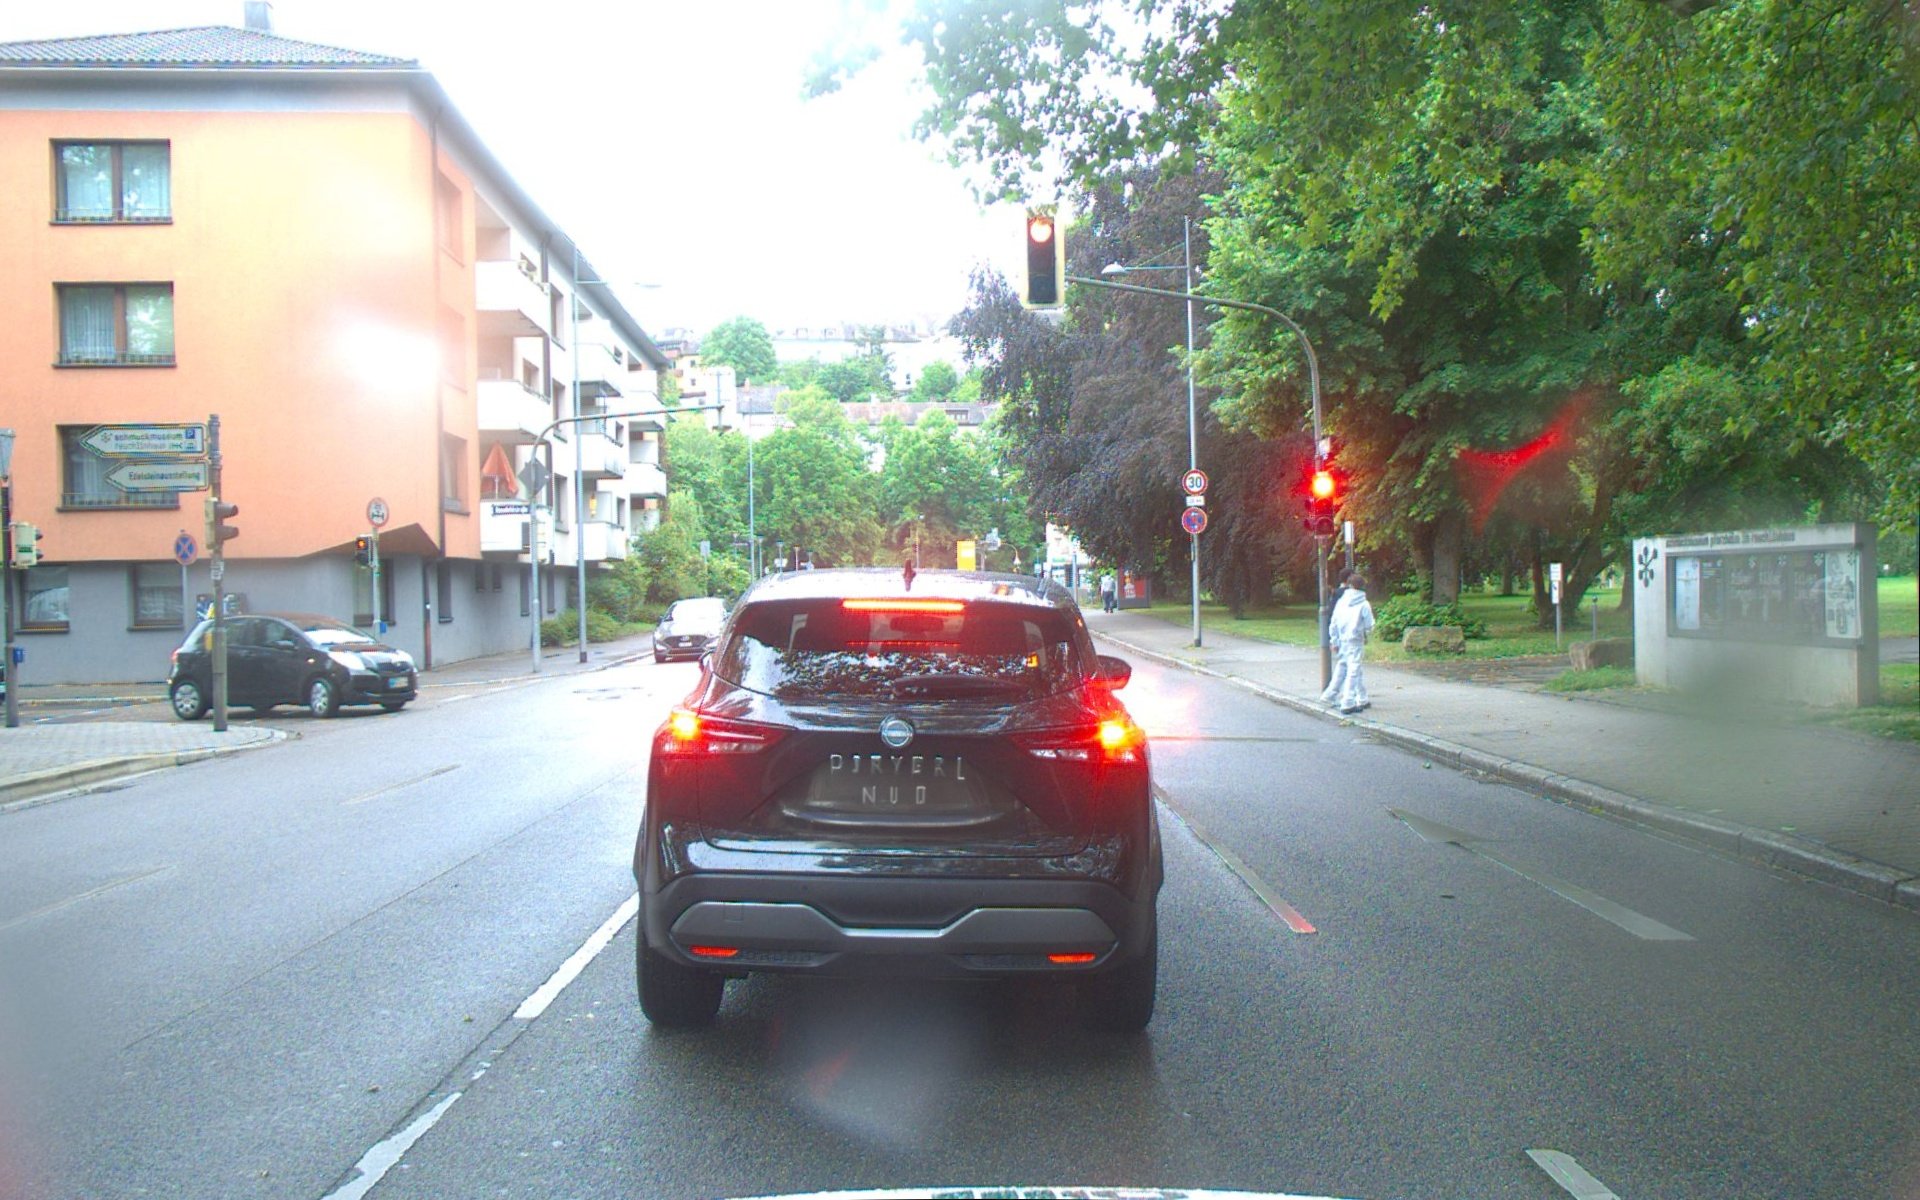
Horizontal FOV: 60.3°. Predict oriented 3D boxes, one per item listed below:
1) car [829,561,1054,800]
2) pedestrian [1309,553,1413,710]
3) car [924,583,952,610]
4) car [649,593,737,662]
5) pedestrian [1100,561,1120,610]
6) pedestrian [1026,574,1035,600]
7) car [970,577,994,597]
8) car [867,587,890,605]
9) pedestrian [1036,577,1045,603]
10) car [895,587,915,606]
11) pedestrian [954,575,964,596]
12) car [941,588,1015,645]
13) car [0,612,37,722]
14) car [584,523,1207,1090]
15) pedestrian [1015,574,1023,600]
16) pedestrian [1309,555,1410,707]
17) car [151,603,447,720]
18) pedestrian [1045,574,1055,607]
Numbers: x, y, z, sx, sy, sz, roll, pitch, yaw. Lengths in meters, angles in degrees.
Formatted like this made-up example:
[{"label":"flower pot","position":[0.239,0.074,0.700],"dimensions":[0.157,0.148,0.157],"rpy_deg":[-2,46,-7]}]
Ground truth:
[{"label":"car","position":[-0.168,0.602,14.483],"dimensions":[1.664,1.776,3.640],"rpy_deg":[-2,0,-1]},{"label":"pedestrian","position":[5.077,0.388,20.986],"dimensions":[1.017,1.908,0.656],"rpy_deg":[-3,0,-11]},{"label":"car","position":[-1.307,-0.221,98.611],"dimensions":[1.601,1.559,3.967],"rpy_deg":[-2,0,-1]},{"label":"car","position":[-6.528,0.634,40.730],"dimensions":[1.760,1.560,3.864],"rpy_deg":[-2,0,-4]},{"label":"pedestrian","position":[6.378,-0.627,70.530],"dimensions":[0.710,2.049,0.851],"rpy_deg":[-2,0,-1]},{"label":"pedestrian","position":[5.030,-0.899,118.215],"dimensions":[0.498,1.833,0.659],"rpy_deg":[-2,0,-1]},{"label":"car","position":[2.074,-1.171,152.170],"dimensions":[1.952,1.765,4.002],"rpy_deg":[1,0,4]},{"label":"car","position":[-7.405,-0.363,150.700],"dimensions":[1.930,1.559,3.967],"rpy_deg":[-2,0,-1]},{"label":"pedestrian","position":[5.795,-0.739,118.861],"dimensions":[0.498,1.833,0.619],"rpy_deg":[-2,0,-2]},{"label":"car","position":[-4.737,-0.353,142.319],"dimensions":[1.601,1.559,3.967],"rpy_deg":[-2,0,-1]},{"label":"pedestrian","position":[-0.083,-1.158,135.138],"dimensions":[0.498,1.702,0.658],"rpy_deg":[-2,0,27]},{"label":"car","position":[0.446,0.429,46.042],"dimensions":[1.789,1.428,4.649],"rpy_deg":[-2,0,-2]},{"label":"car","position":[-17.301,1.140,26.238],"dimensions":[4.218,1.707,1.725],"rpy_deg":[-2,0,-8]},{"label":"car","position":[-0.215,0.613,7.000],"dimensions":[1.874,1.709,3.999],"rpy_deg":[0,0,-1]},{"label":"pedestrian","position":[4.263,-0.914,119.062],"dimensions":[0.498,1.833,0.619],"rpy_deg":[-2,0,-1]},{"label":"pedestrian","position":[5.243,0.393,21.740],"dimensions":[1.017,1.908,0.656],"rpy_deg":[-3,0,-11]},{"label":"car","position":[-9.791,0.907,24.553],"dimensions":[3.774,1.560,1.802],"rpy_deg":[-2,0,18]},{"label":"pedestrian","position":[5.025,-0.526,92.409],"dimensions":[0.498,1.833,0.619],"rpy_deg":[-2,0,-1]}]
